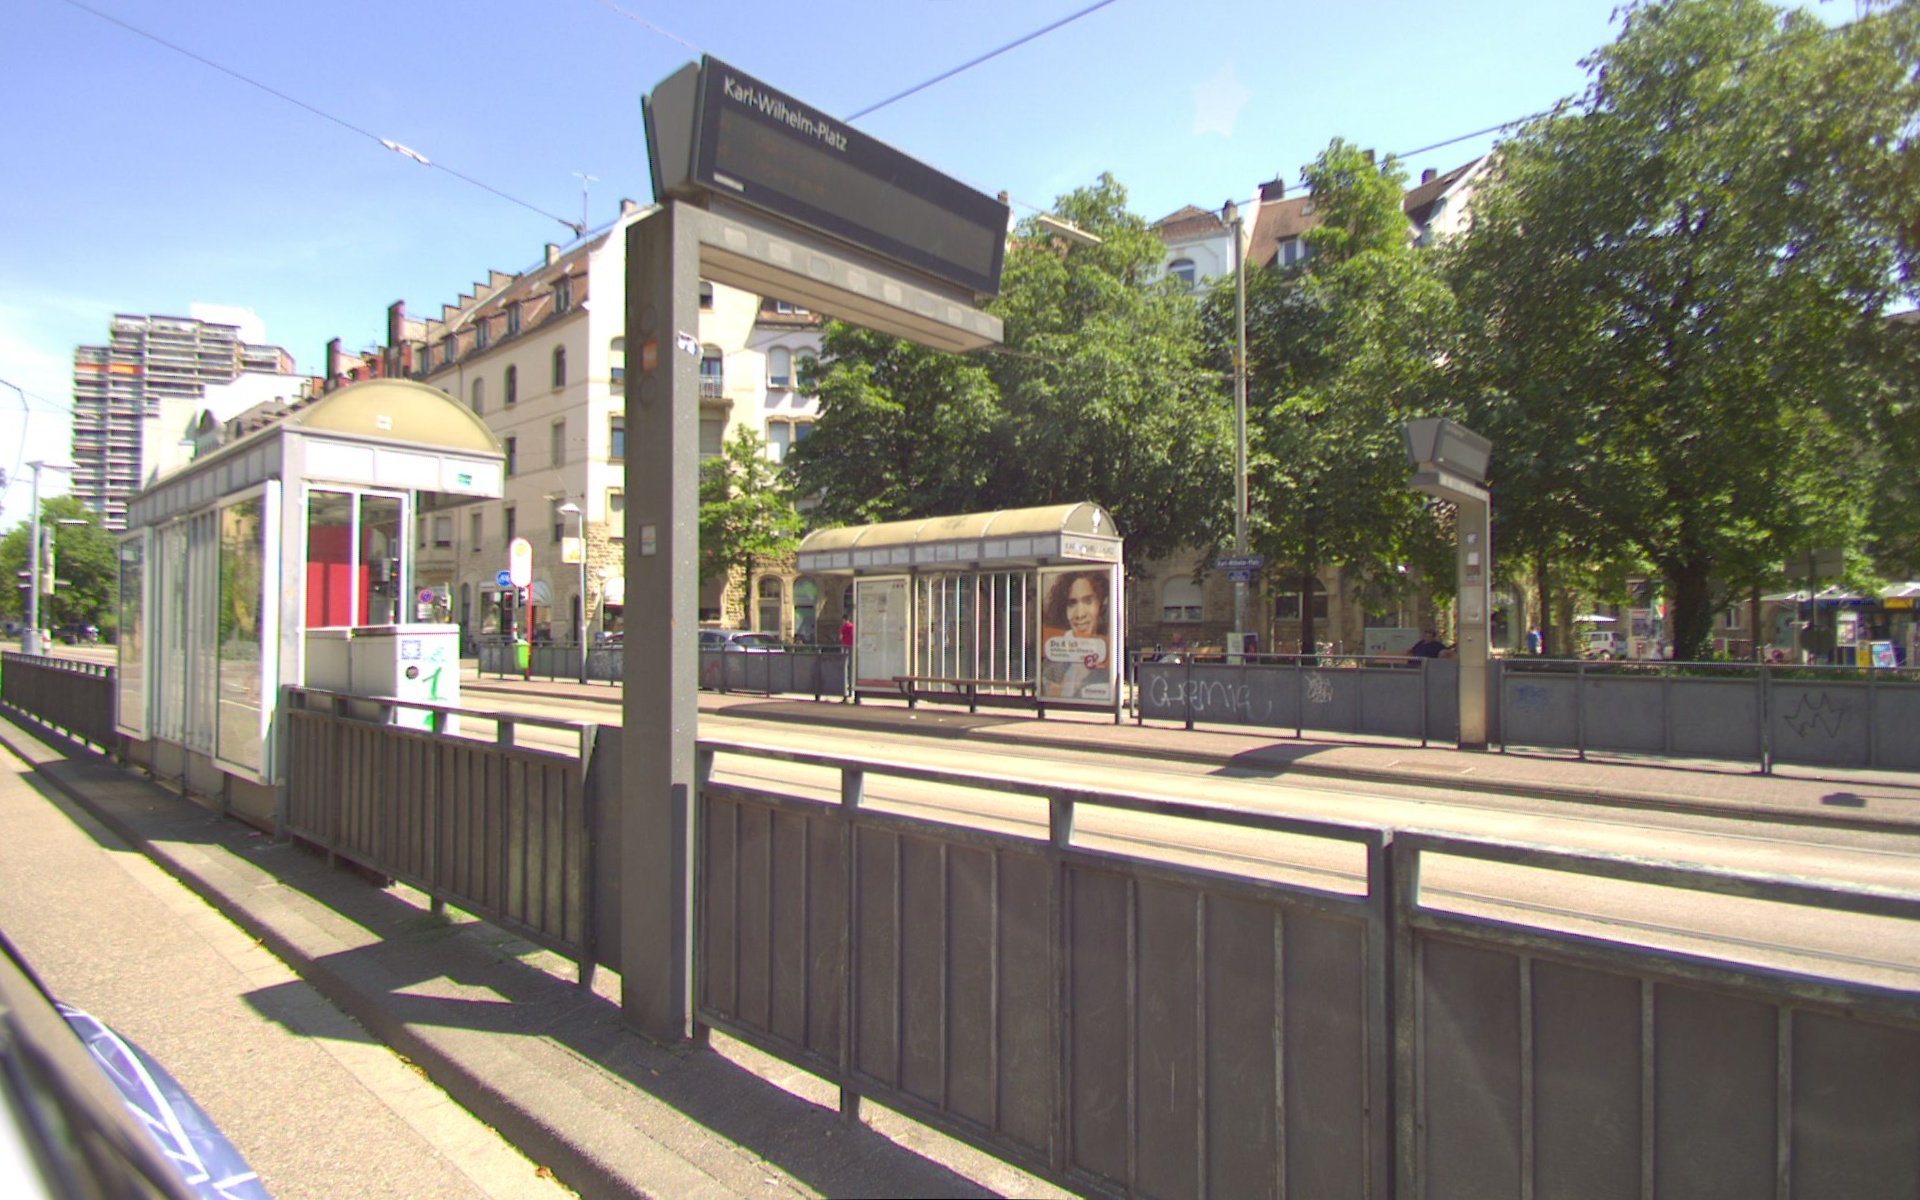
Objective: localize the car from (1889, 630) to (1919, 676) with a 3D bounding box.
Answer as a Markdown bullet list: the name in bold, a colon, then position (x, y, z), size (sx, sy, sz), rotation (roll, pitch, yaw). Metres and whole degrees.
- **car**: position (32.127, 1.701, 32.840), size (3.676, 1.453, 1.546), rotation (0, -1, -24)

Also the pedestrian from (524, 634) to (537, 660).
- **pedestrian**: position (-19.473, 2.134, 45.855), size (0.405, 1.157, 0.401), rotation (-1, -1, 38)

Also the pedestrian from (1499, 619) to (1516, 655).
- **pedestrian**: position (24.580, 1.654, 45.435), size (0.560, 1.635, 0.507), rotation (-1, -2, 41)

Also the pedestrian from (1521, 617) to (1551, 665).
- **pedestrian**: position (21.344, 1.513, 37.526), size (0.606, 1.764, 0.719), rotation (0, -1, -25)

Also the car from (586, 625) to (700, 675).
- **car**: position (-10.840, 1.677, 34.615), size (3.525, 1.587, 1.588), rotation (0, -1, -25)

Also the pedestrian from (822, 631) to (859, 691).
- **pedestrian**: position (-3.284, 1.656, 27.873), size (0.772, 1.618, 0.673), rotation (-1, -1, 38)

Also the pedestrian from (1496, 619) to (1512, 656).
- **pedestrian**: position (24.212, 1.648, 45.020), size (0.526, 1.635, 0.491), rotation (-1, -2, 41)

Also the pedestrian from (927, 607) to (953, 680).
- **pedestrian**: position (-0.527, 1.142, 26.865), size (0.504, 1.893, 0.494), rotation (1, -2, -44)

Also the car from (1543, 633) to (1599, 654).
- **car**: position (26.467, 1.888, 43.843), size (1.899, 0.872, 0.856), rotation (0, -1, 17)

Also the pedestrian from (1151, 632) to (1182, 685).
- **pedestrian**: position (4.966, 1.405, 24.357), size (0.637, 1.265, 0.549), rotation (0, -1, 2)

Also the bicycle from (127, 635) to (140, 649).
- **bicycle**: position (-66.242, 3.346, 81.104), size (2.046, 1.105, 0.487), rotation (-2, -2, 42)

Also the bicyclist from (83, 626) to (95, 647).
- **bicyclist**: position (-66.115, 2.801, 76.853), size (0.585, 1.586, 0.602), rotation (-1, -2, 41)

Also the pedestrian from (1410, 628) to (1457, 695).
- **pedestrian**: position (9.408, 1.215, 20.111), size (0.637, 1.297, 0.618), rotation (0, -1, 2)

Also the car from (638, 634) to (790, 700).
- **car**: position (-5.718, 1.478, 23.309), size (3.716, 1.349, 1.525), rotation (-1, -1, 40)

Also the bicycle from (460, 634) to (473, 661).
- **bicycle**: position (-24.155, 2.320, 49.518), size (0.447, 1.234, 2.086), rotation (0, -1, -29)

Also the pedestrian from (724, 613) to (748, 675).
- **pedestrian**: position (-6.718, 1.312, 30.387), size (0.494, 1.836, 0.505), rotation (-1, -2, 43)

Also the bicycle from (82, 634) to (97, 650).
- **bicycle**: position (-66.045, 3.181, 76.767), size (1.977, 1.166, 0.621), rotation (-2, -2, 42)
